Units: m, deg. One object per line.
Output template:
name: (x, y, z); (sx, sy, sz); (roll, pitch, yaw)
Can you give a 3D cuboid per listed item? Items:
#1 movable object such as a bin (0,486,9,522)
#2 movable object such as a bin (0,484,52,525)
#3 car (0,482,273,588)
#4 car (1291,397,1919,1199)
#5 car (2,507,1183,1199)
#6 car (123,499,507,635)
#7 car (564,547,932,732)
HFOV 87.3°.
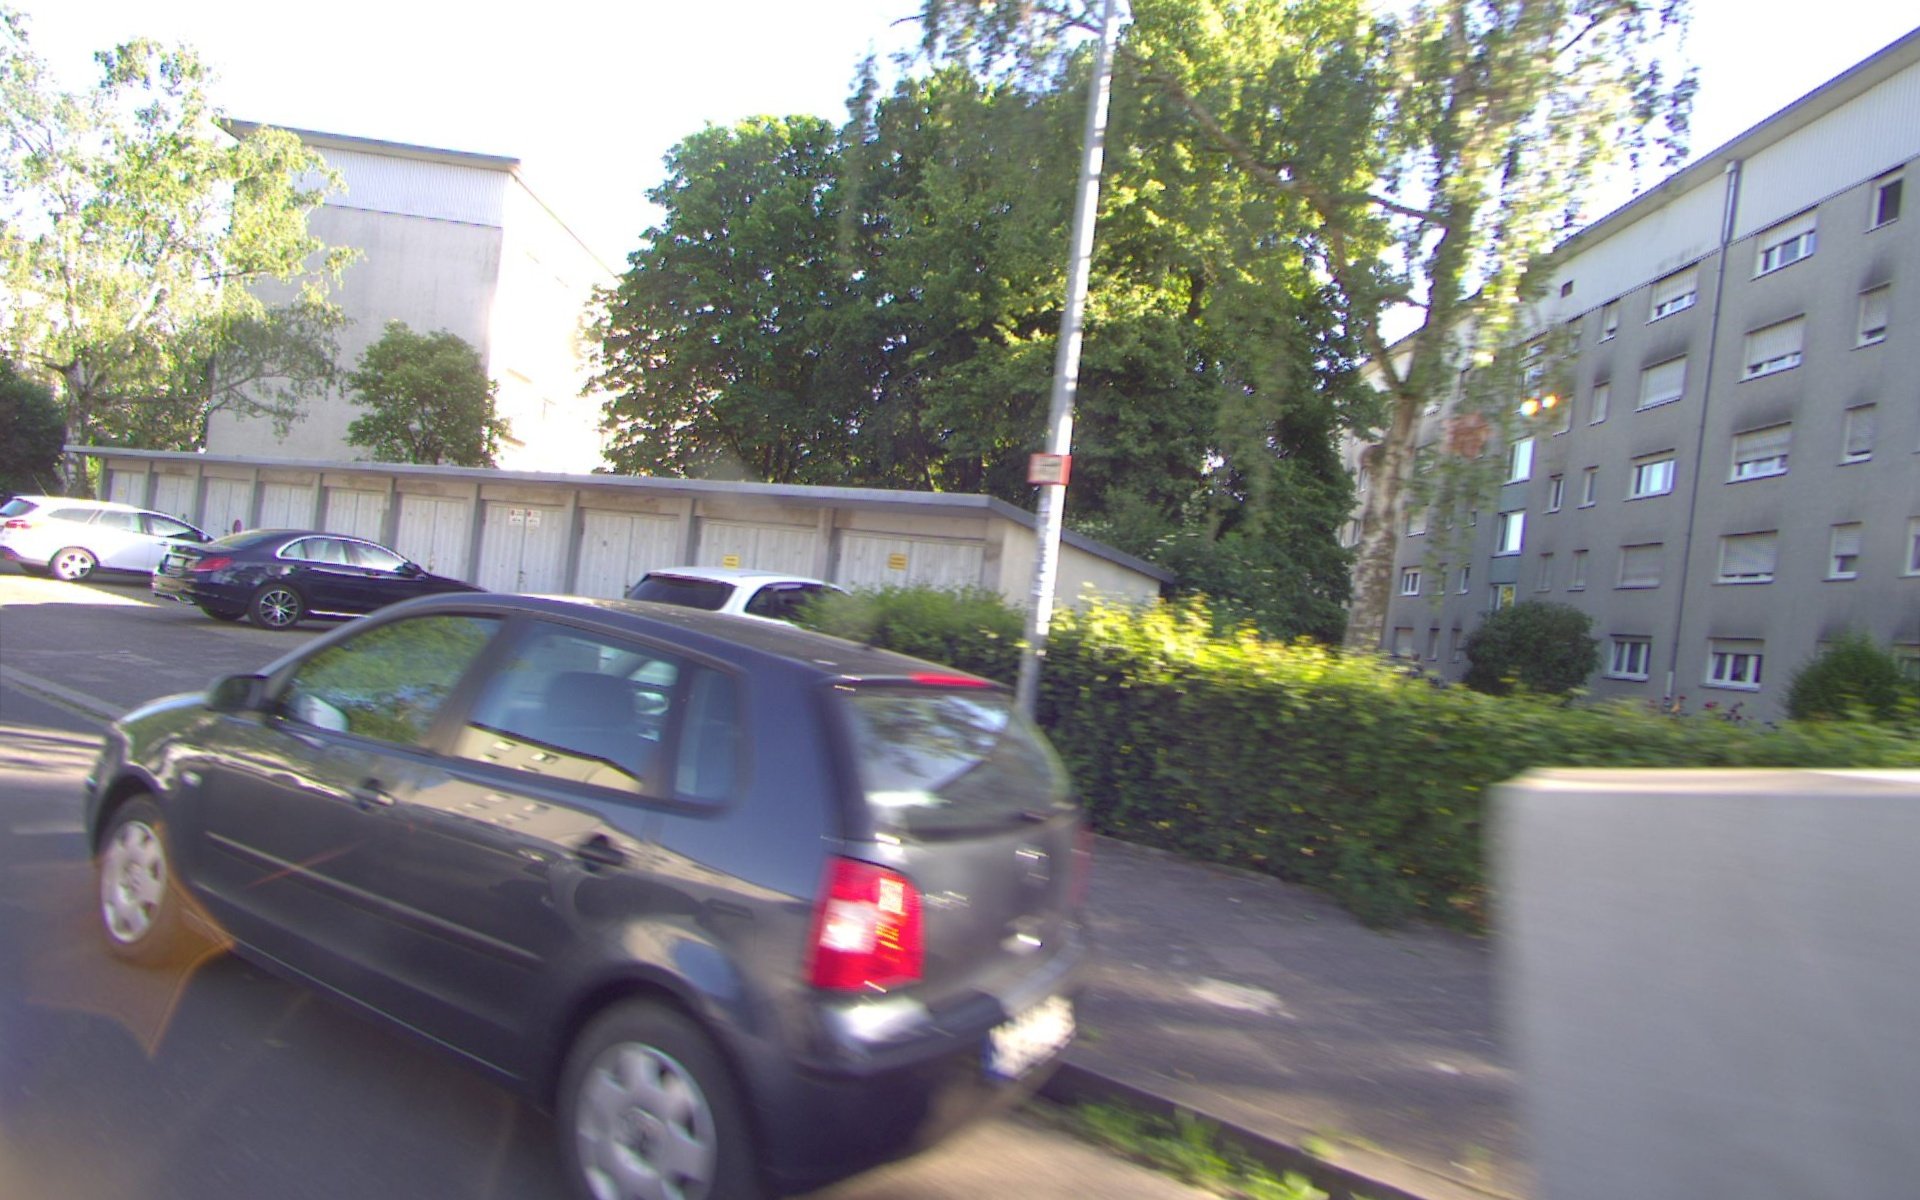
movable object such as a bin: (-38.570, -3.885, 39.535); (1.255, 1.369, 1.259); (7, 0, 22)
movable object such as a bin: (-38.254, -3.901, 41.036); (1.255, 1.369, 1.259); (7, 0, 20)
car: (-16.337, -1.235, 19.638); (1.798, 1.532, 4.419); (7, 1, 31)
car: (1.936, 0.786, 1.381); (2.539, 1.738, 1.492); (7, -1, 30)
car: (-1.396, 0.645, 3.589); (3.828, 1.420, 1.736); (7, -2, 29)
car: (-9.558, -0.406, 15.333); (1.798, 1.532, 4.517); (7, 1, 32)
car: (-2.128, 0.435, 11.237); (1.797, 1.533, 3.949); (7, 1, 28)
